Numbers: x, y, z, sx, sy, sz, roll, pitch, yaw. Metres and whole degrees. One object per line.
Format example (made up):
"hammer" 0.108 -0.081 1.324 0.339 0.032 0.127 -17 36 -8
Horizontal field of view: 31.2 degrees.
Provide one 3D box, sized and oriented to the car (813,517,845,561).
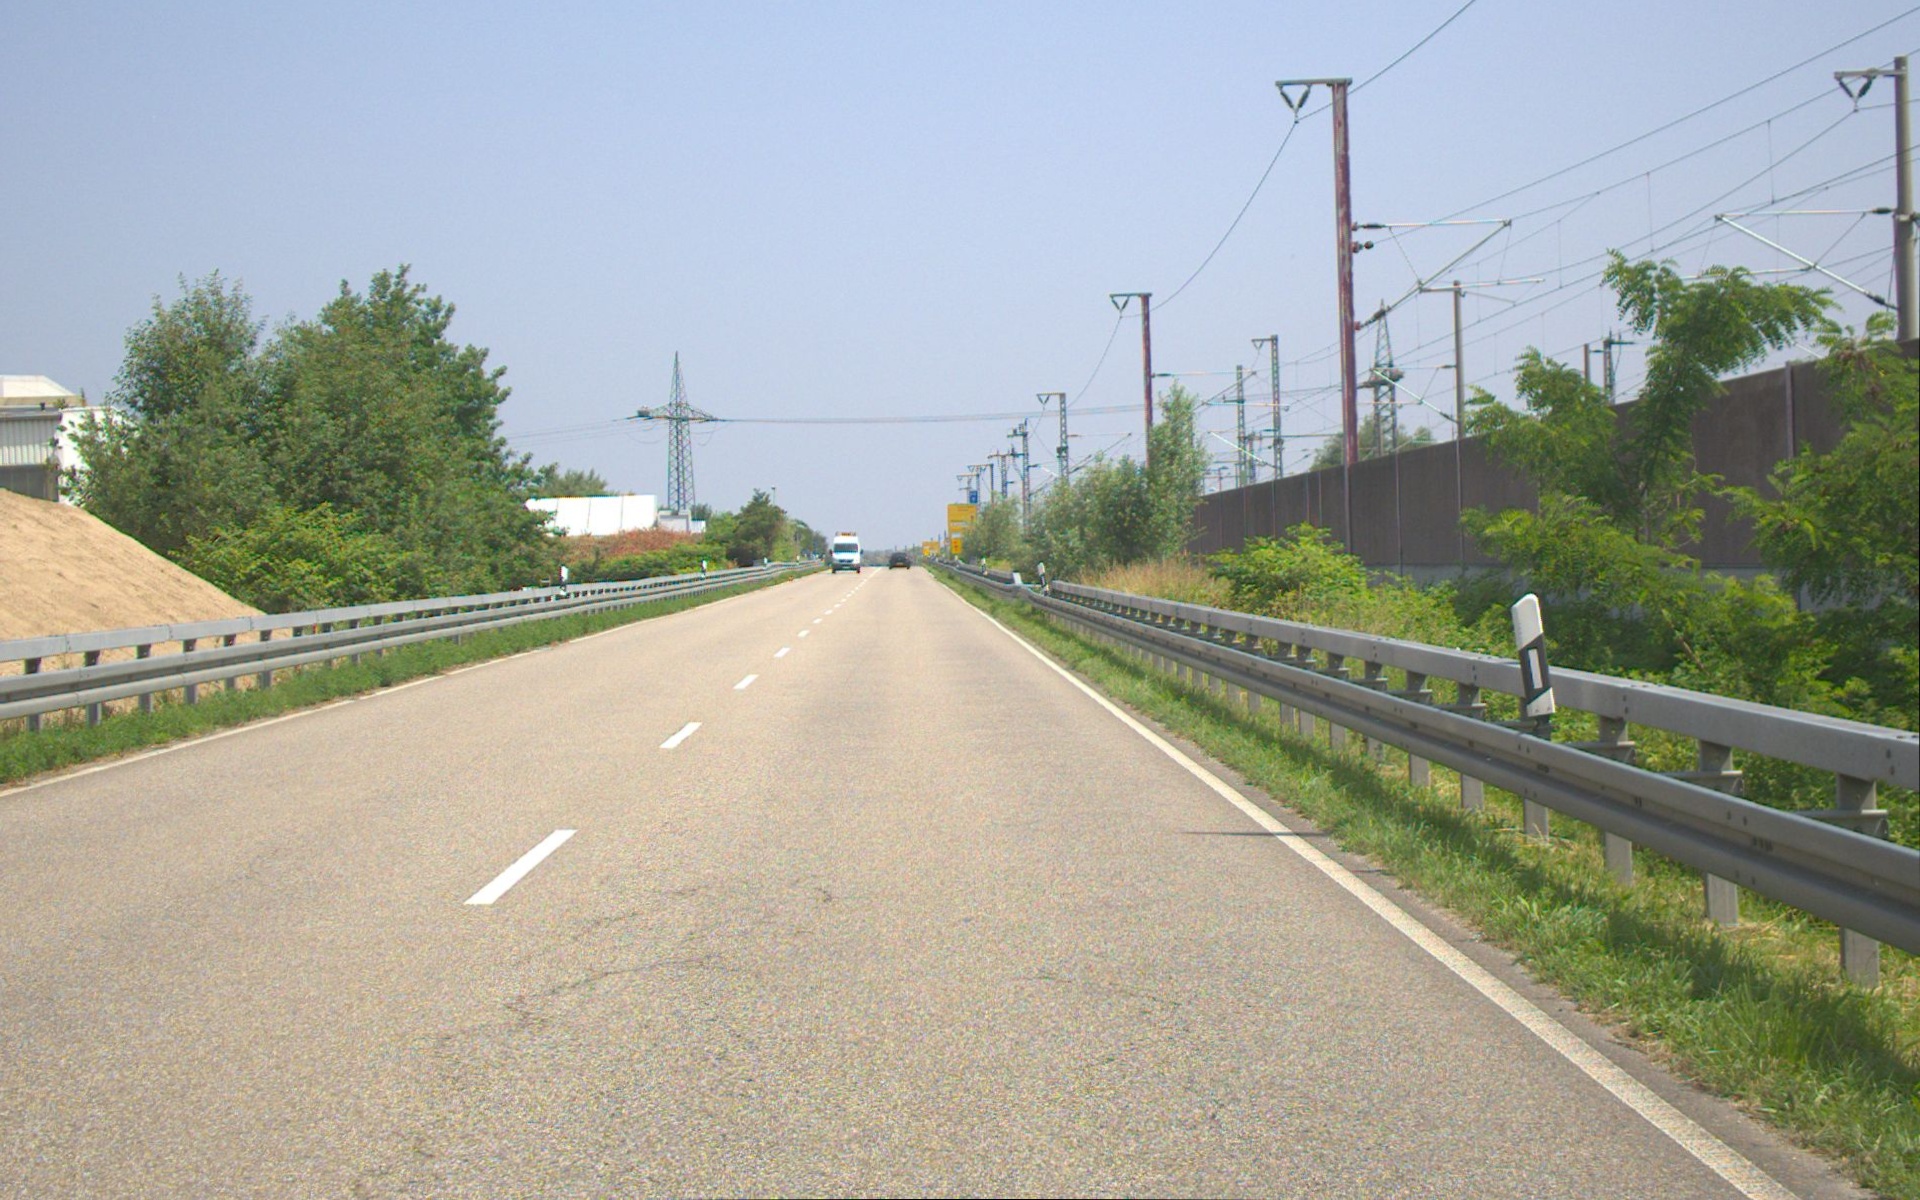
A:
"car" -8.955 -4.123 234.739 2.079 2.952 6.730 0 1 -1
